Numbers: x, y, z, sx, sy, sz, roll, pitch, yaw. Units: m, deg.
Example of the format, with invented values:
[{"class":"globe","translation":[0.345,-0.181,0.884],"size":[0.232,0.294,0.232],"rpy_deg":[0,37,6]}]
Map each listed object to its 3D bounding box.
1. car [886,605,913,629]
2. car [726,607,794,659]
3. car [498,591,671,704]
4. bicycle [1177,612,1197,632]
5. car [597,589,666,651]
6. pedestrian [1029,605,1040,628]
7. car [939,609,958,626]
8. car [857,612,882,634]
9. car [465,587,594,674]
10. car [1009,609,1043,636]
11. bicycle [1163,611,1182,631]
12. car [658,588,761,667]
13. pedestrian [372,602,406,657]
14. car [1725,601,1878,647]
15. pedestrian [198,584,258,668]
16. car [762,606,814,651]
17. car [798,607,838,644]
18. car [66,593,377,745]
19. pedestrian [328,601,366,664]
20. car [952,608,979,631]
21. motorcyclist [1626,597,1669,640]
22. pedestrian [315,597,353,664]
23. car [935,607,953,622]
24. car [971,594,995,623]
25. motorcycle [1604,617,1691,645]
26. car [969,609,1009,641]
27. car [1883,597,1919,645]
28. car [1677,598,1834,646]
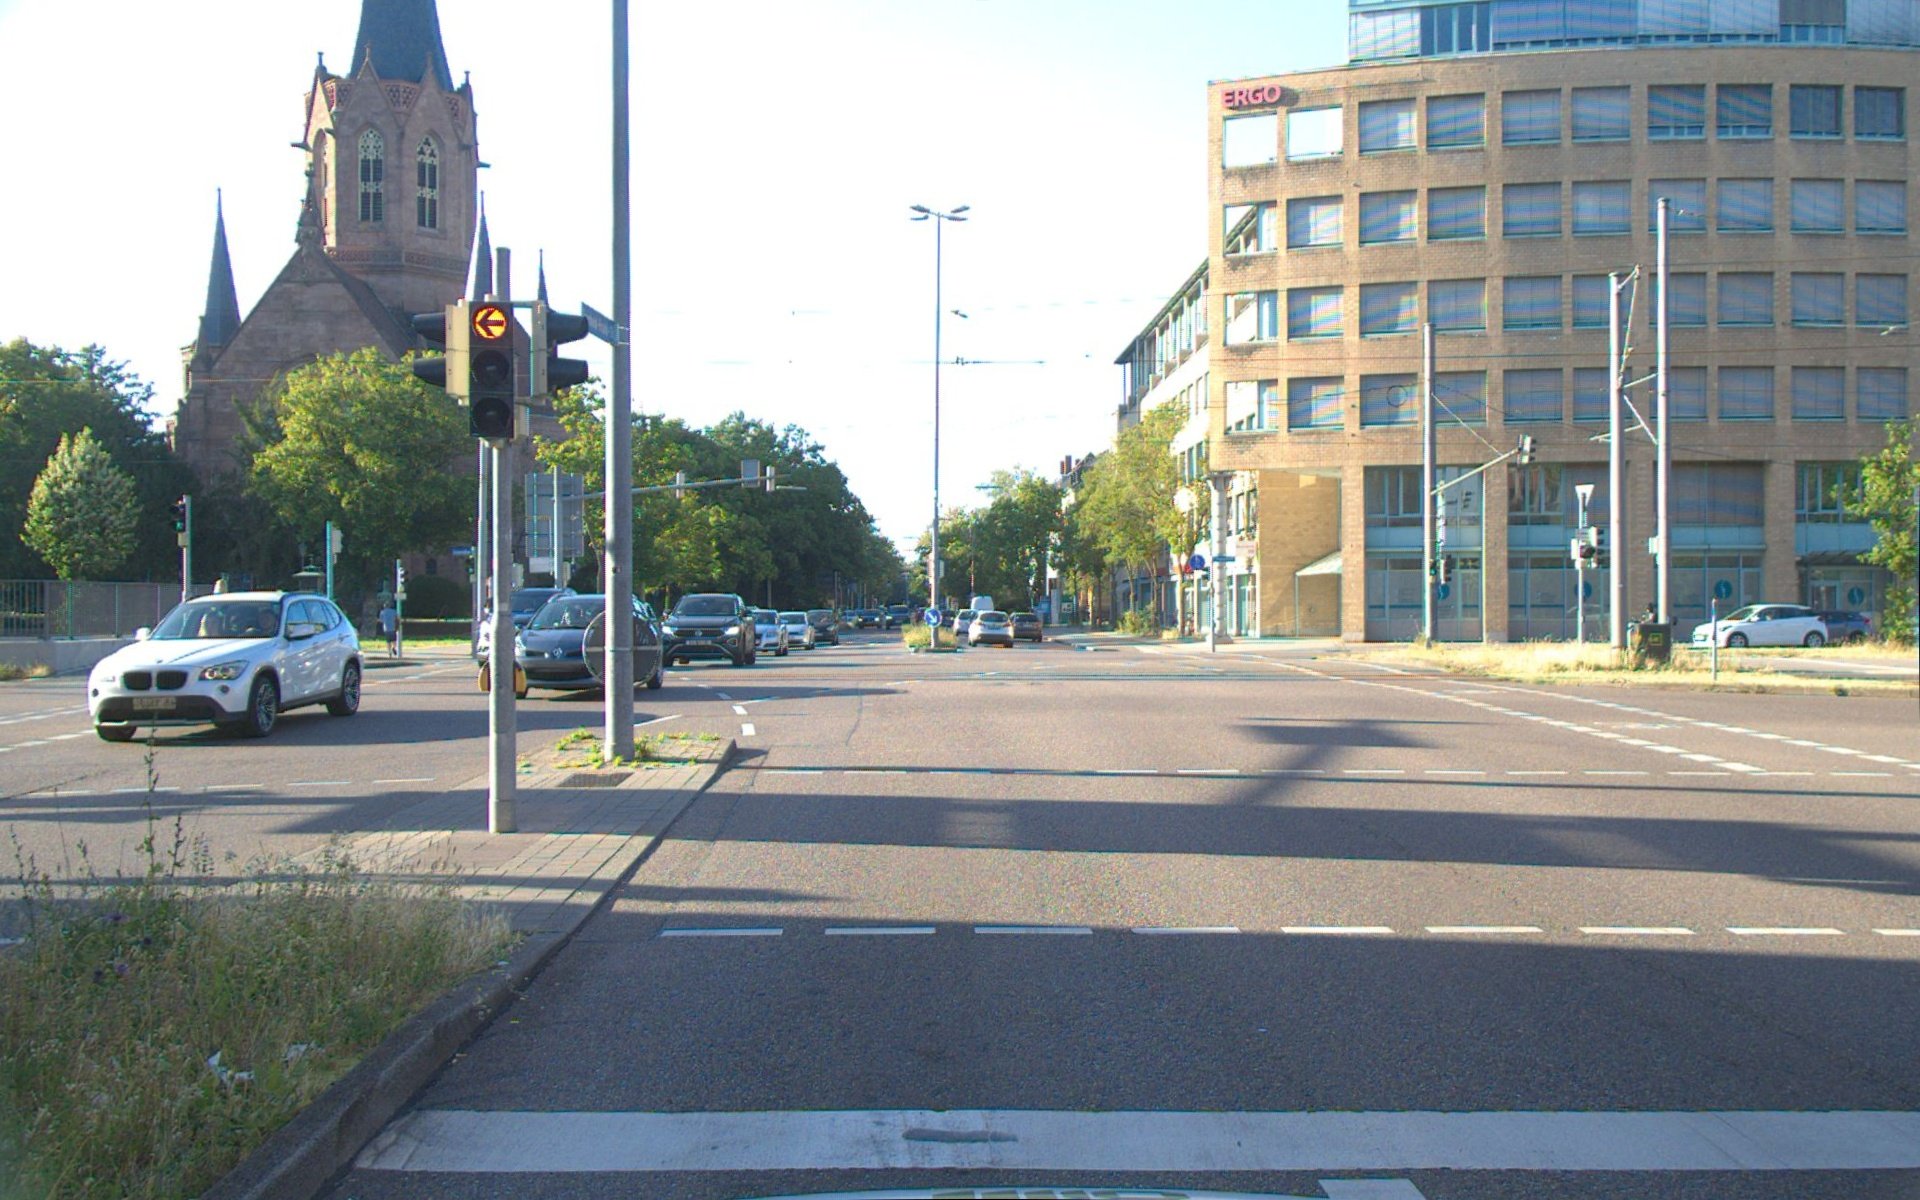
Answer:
[{"class":"car","translation":[-4.575,1.312,125.048],"size":[1.953,1.754,5.029],"rpy_deg":[-1,-1,-2]},{"class":"car","translation":[-6.176,0.981,51.402],"size":[1.674,1.450,4.101],"rpy_deg":[-2,0,-1]},{"class":"car","translation":[-5.486,0.634,24.637],"size":[1.559,1.497,3.986],"rpy_deg":[-1,0,1]},{"class":"bicycle","translation":[11.145,1.078,81.390],"size":[0.633,1.012,2.080],"rpy_deg":[0,0,-2]},{"class":"car","translation":[-9.004,0.523,45.482],"size":[1.505,1.620,2.805],"rpy_deg":[-2,0,-5]},{"class":"pedestrian","translation":[5.895,1.303,131.472],"size":[0.830,1.835,0.775],"rpy_deg":[0,0,-1]},{"class":"car","translation":[-0.948,1.431,135.018],"size":[1.562,1.289,3.266],"rpy_deg":[0,0,-1]},{"class":"car","translation":[-7.415,1.877,136.005],"size":[1.953,1.754,4.591],"rpy_deg":[-1,-1,-2]},{"class":"car","translation":[-8.851,0.580,34.302],"size":[1.685,1.657,4.101],"rpy_deg":[-2,0,-2]},{"class":"car","translation":[3.366,1.140,84.493],"size":[1.562,1.289,3.266],"rpy_deg":[0,0,-1]},{"class":"bicycle","translation":[11.028,1.094,85.835],"size":[0.633,1.012,2.080],"rpy_deg":[0,0,-2]},{"class":"car","translation":[-5.445,0.563,36.328],"size":[1.641,1.571,4.102],"rpy_deg":[-2,0,-1]},{"class":"pedestrian","translation":[-18.189,0.942,52.696],"size":[0.826,1.726,1.014],"rpy_deg":[1,0,-9]},{"class":"car","translation":[29.565,0.831,58.185],"size":[4.390,1.564,1.986],"rpy_deg":[0,-1,-1]},{"class":"pedestrian","translation":[-15.679,0.553,35.446],"size":[0.946,1.770,0.811],"rpy_deg":[0,-1,-3]},{"class":"car","translation":[-6.627,1.080,64.050],"size":[1.641,1.571,3.805],"rpy_deg":[-2,0,-1]},{"class":"car","translation":[-6.422,1.133,74.906],"size":[1.546,1.571,3.476],"rpy_deg":[-2,0,-1]},{"class":"car","translation":[-8.381,0.704,19.233],"size":[1.717,1.514,4.248],"rpy_deg":[-1,0,-1]},{"class":"pedestrian","translation":[-17.052,0.907,46.028],"size":[0.827,1.726,1.014],"rpy_deg":[1,-1,-12]},{"class":"car","translation":[0.300,1.137,97.655],"size":[1.562,1.289,3.266],"rpy_deg":[0,0,-1]},{"class":"motorcyclist","translation":[24.146,0.648,58.087],"size":[1.044,1.460,1.031],"rpy_deg":[0,-1,-2]},{"class":"pedestrian","translation":[-16.401,0.798,43.359],"size":[0.694,1.726,0.895],"rpy_deg":[1,-1,-6]},{"class":"car","translation":[-1.413,1.319,147.584],"size":[1.562,1.289,3.266],"rpy_deg":[0,0,-1]},{"class":"car","translation":[2.049,0.777,145.577],"size":[1.953,2.483,3.999],"rpy_deg":[1,0,-1]},{"class":"motorcycle","translation":[24.133,1.084,58.081],"size":[2.663,0.981,1.031],"rpy_deg":[0,-1,-2]},{"class":"car","translation":[1.213,1.040,69.205],"size":[1.562,1.289,3.266],"rpy_deg":[0,0,-1]},{"class":"car","translation":[32.246,0.671,53.364],"size":[3.970,1.518,1.819],"rpy_deg":[0,-1,-2]},{"class":"car","translation":[25.486,0.700,53.087],"size":[4.080,1.518,1.994],"rpy_deg":[0,-1,-3]}]
